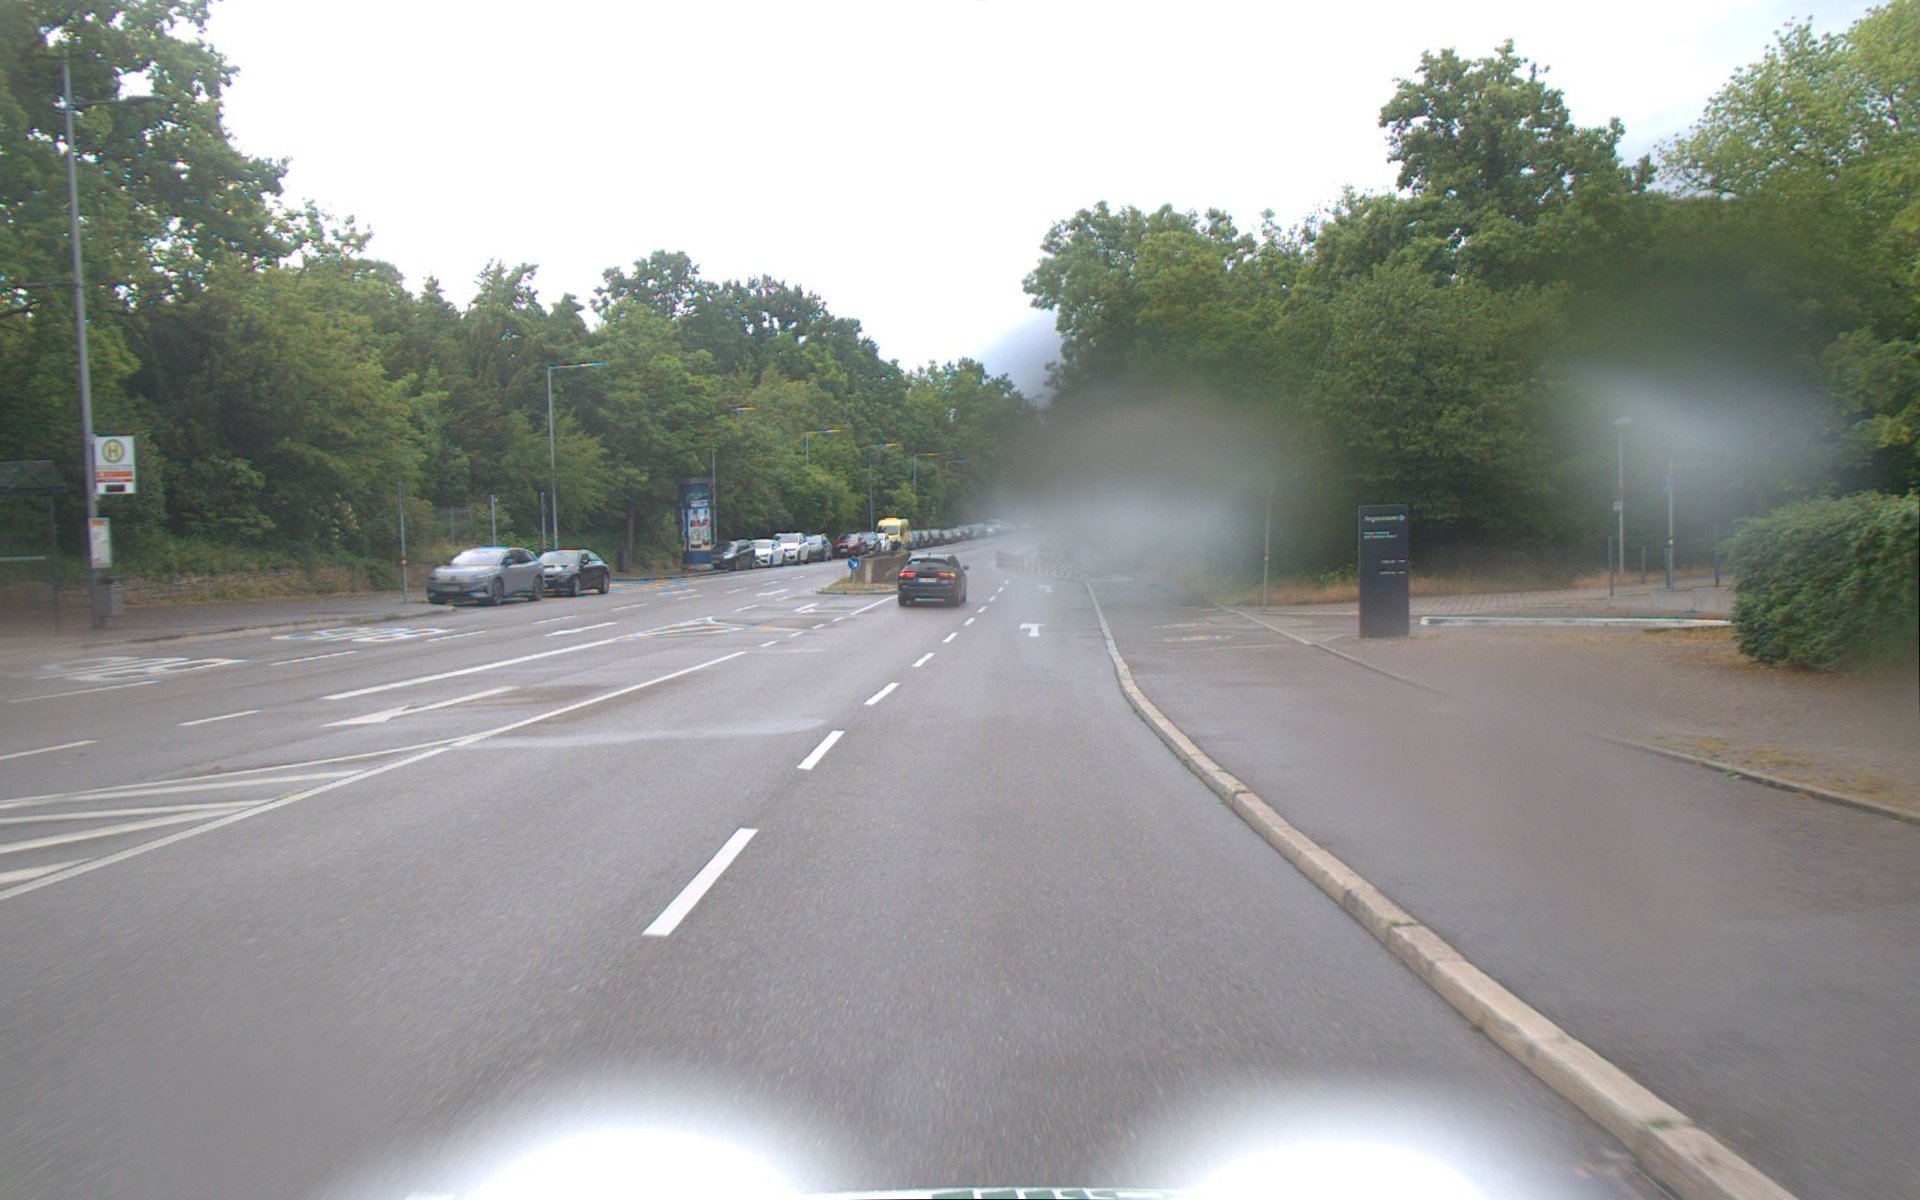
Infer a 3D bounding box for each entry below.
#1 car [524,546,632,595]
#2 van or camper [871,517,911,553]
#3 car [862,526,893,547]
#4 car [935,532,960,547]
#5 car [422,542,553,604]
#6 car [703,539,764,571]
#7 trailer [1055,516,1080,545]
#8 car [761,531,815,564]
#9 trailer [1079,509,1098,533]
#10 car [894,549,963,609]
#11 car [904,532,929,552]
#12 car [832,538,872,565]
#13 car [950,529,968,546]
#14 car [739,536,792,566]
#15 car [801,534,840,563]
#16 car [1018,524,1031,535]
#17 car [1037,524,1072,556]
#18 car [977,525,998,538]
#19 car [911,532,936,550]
[{"bbox_3d":[-11.985,-0.966,52.155,1.866,1.438,4.787,1,2,6],"label":"car"},{"bbox_3d":[-5.318,-5.091,128.801,2.098,2.672,5.689,-1,3,8],"label":"van or camper"},{"bbox_3d":[-6.071,-4.696,122.201,1.583,1.473,3.661,-2,3,7],"label":"car"},{"bbox_3d":[-1.149,-5.681,154.305,1.830,1.326,4.475,0,3,6],"label":"car"},{"bbox_3d":[-13.045,-0.779,45.991,1.802,1.616,4.933,1,2,6],"label":"car"},{"bbox_3d":[-11.040,-2.213,81.007,1.712,1.470,4.592,0,3,9],"label":"car"},{"bbox_3d":[8.938,-5.771,136.937,1.865,2.286,4.773,0,3,6],"label":"trailer"},{"bbox_3d":[-9.586,-2.948,92.619,1.951,1.796,4.965,0,2,6],"label":"car"},{"bbox_3d":[14.257,-8.788,183.162,2.087,2.604,4.301,0,3,5],"label":"trailer"},{"bbox_3d":[-0.948,-0.631,47.241,1.843,1.491,3.999,1,3,-3],"label":"car"},{"bbox_3d":[-3.675,-4.906,139.591,1.568,1.536,3.142,0,3,8],"label":"car"},{"bbox_3d":[-7.294,-3.291,111.940,1.878,1.644,4.494,-1,3,7],"label":"car"},{"bbox_3d":[-0.110,-6.151,162.369,1.430,1.598,2.987,-1,3,6],"label":"car"},{"bbox_3d":[-10.215,-2.619,87.167,1.682,1.485,4.713,0,3,7],"label":"car"},{"bbox_3d":[-8.449,-3.128,100.307,1.695,1.677,4.575,0,3,4],"label":"car"},{"bbox_3d":[9.686,-10.590,247.372,1.637,1.539,3.634,0,3,6],"label":"car"},{"bbox_3d":[4.999,-3.220,88.298,1.784,1.642,4.254,0,2,2],"label":"car"},{"bbox_3d":[3.148,-7.948,191.266,1.951,1.514,4.473,0,3,7],"label":"car"},{"bbox_3d":[-3.162,-5.187,144.915,1.568,1.536,3.981,0,3,8],"label":"car"}]
